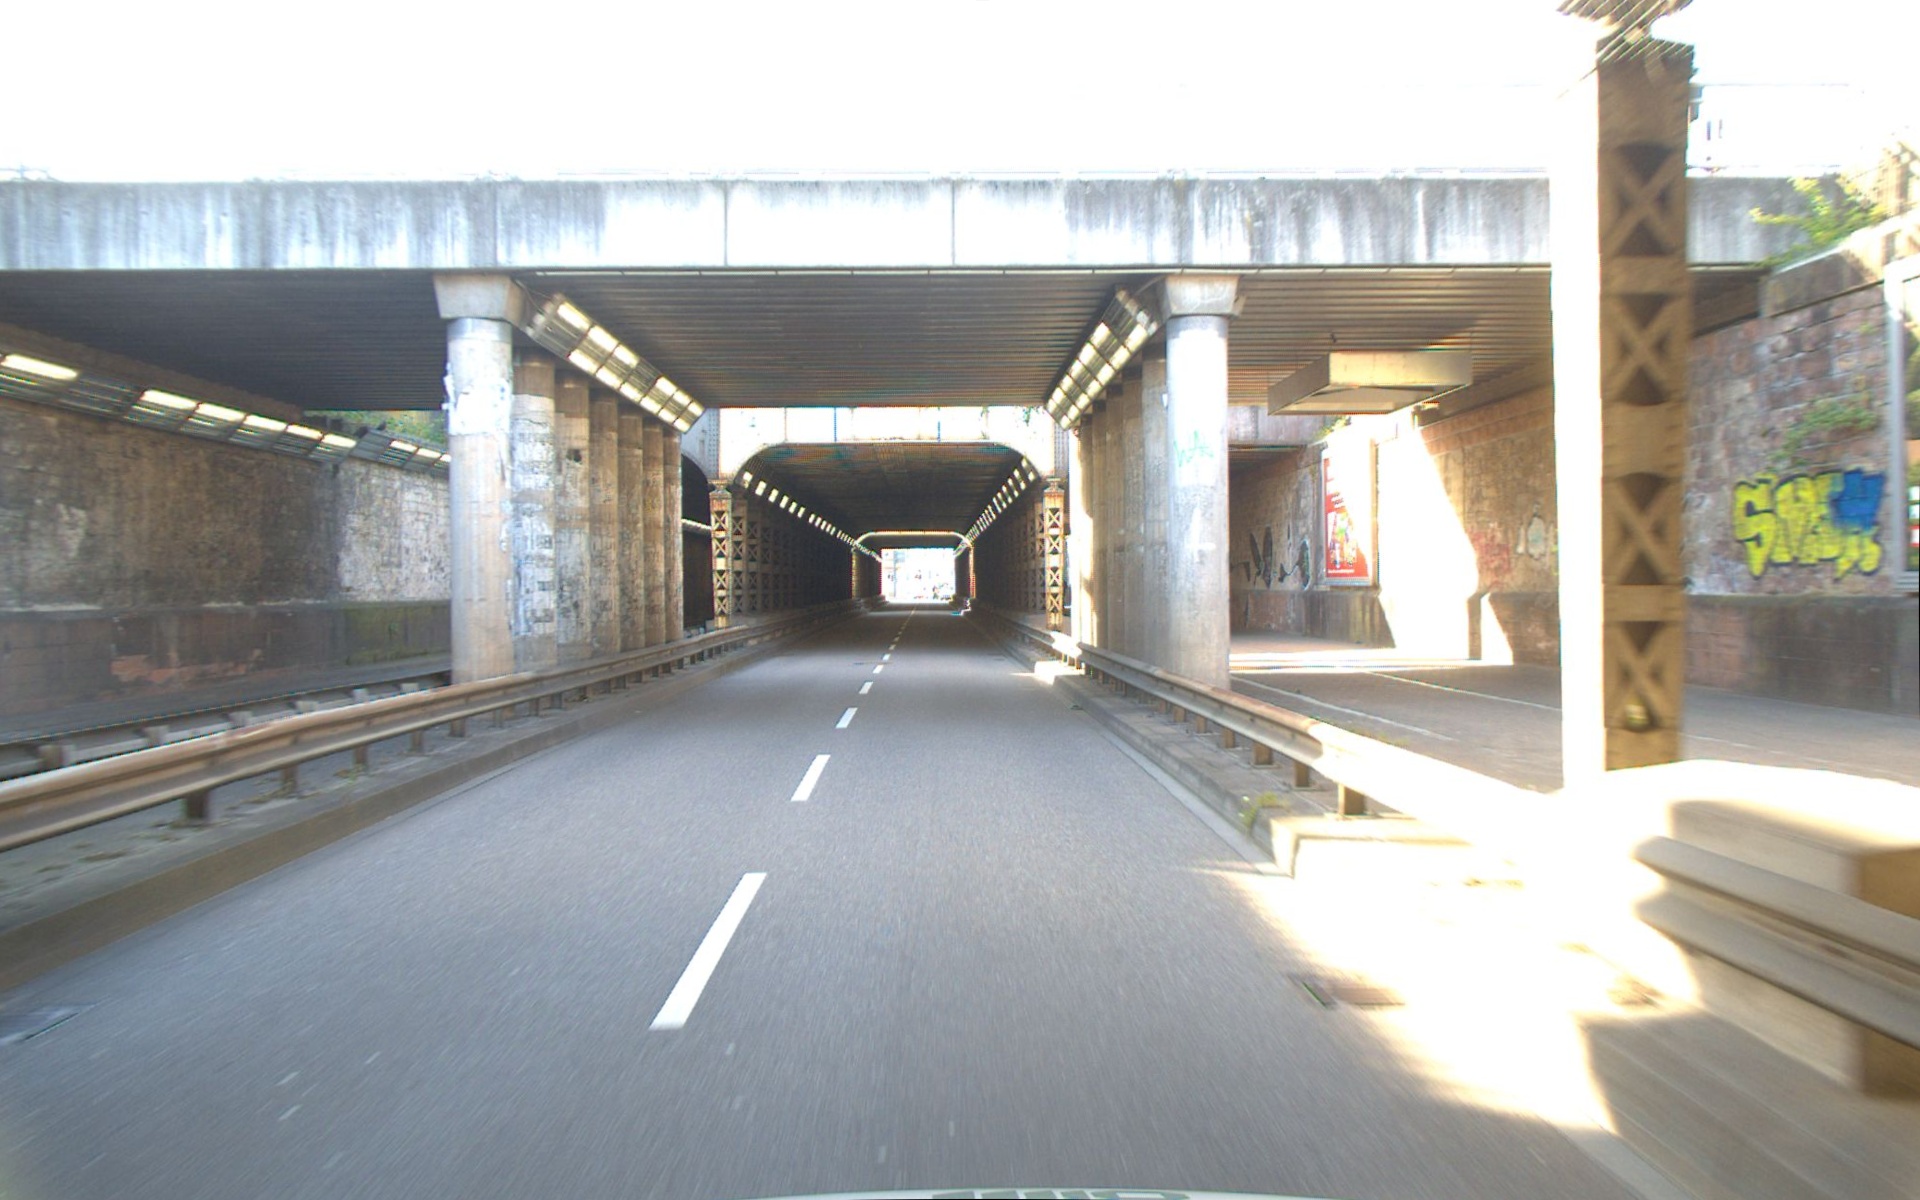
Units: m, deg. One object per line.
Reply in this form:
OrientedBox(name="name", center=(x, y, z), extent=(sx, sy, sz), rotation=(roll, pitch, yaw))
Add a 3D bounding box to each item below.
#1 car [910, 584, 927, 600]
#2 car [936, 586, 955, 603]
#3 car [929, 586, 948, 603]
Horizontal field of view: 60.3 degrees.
OrientedBox(name="car", center=(-4.827, -0.963, 192.123), extent=(1.953, 1.815, 3.999), rotation=(-2, 1, -1))
OrientedBox(name="car", center=(-1.598, -0.578, 176.109), extent=(1.953, 1.815, 3.999), rotation=(-1, 0, -1))
OrientedBox(name="car", center=(-2.422, -0.607, 185.515), extent=(1.953, 1.815, 3.999), rotation=(-2, 1, -1))
